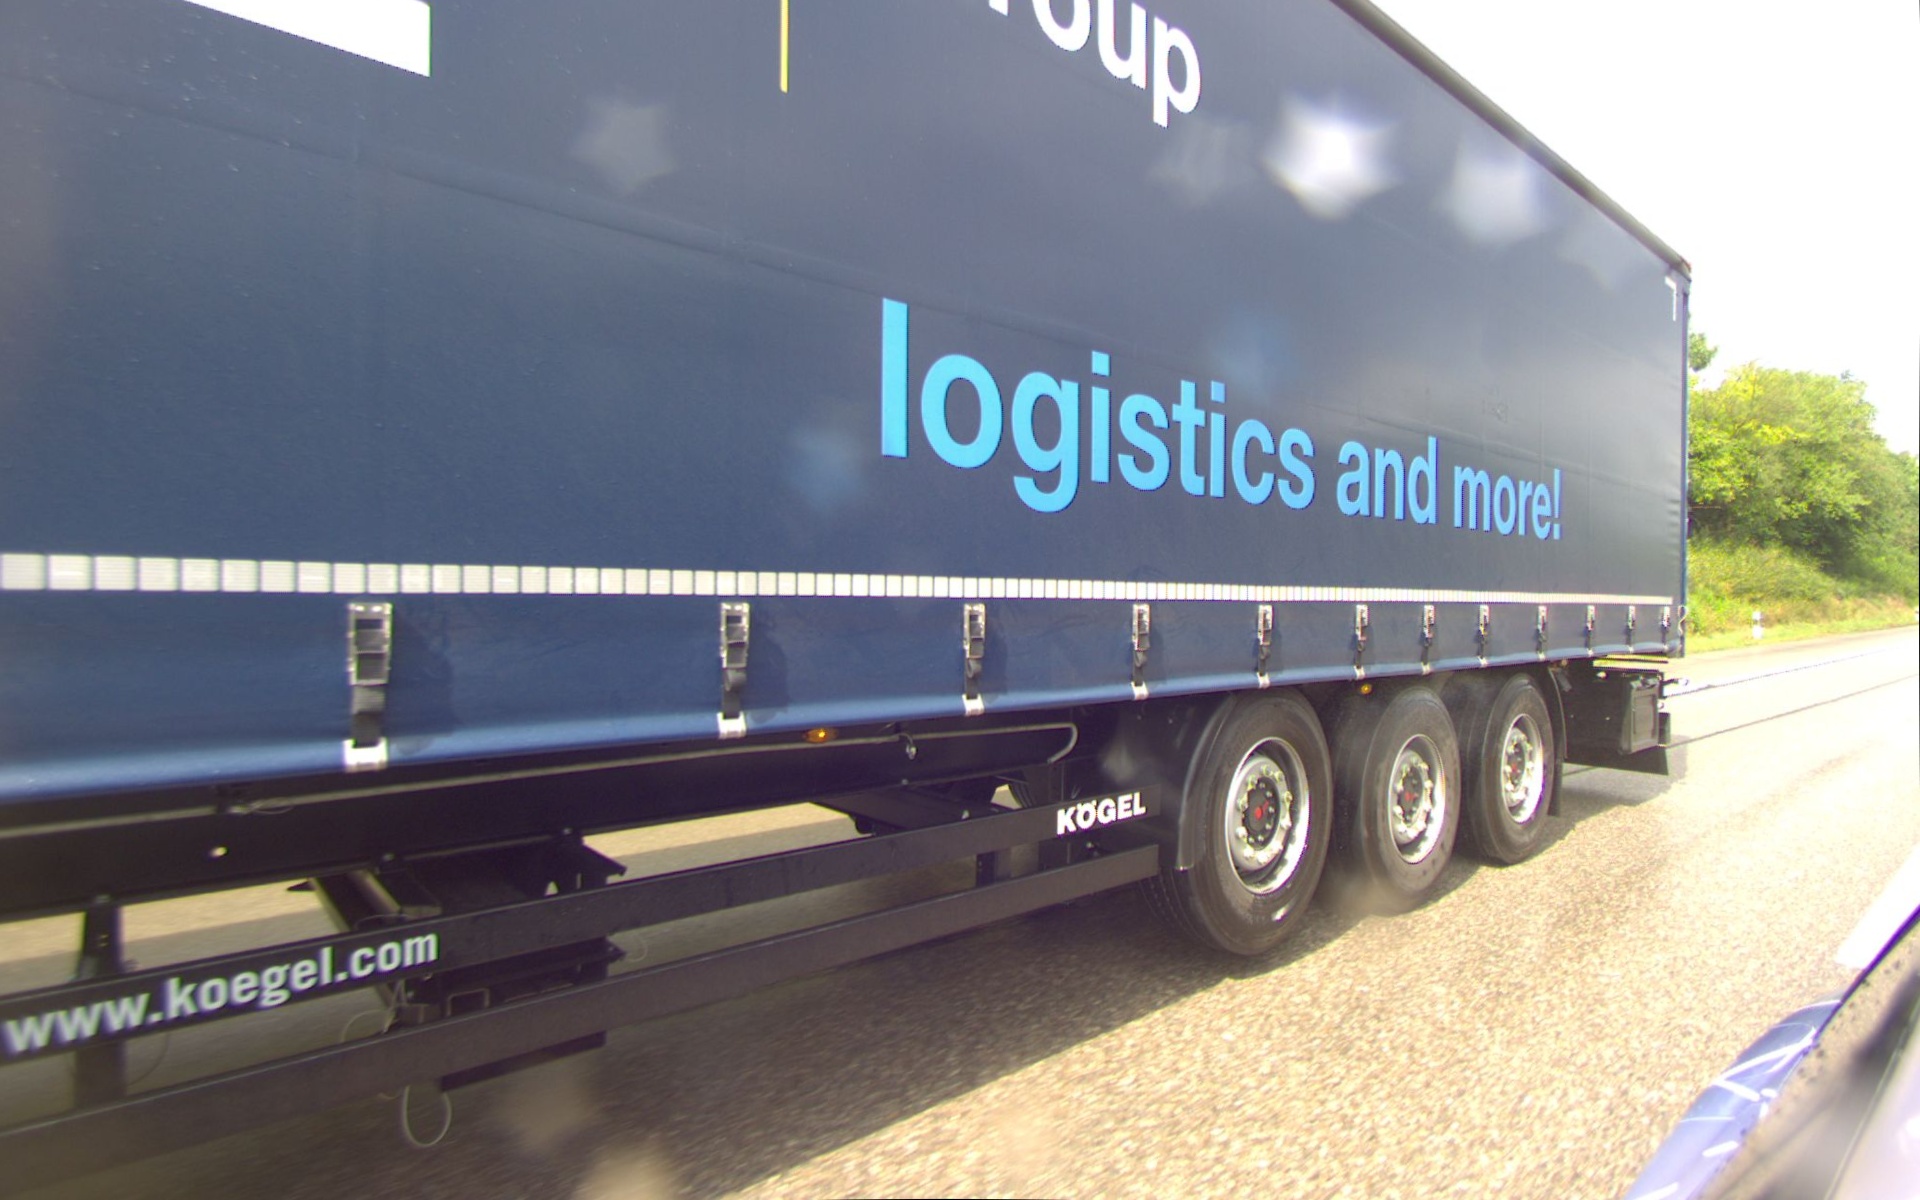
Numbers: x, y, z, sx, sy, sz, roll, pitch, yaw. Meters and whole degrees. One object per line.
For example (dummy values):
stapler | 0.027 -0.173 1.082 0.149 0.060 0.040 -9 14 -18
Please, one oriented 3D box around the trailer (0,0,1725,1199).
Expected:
trailer | -0.613 -0.642 3.743 13.817 4.046 2.639 -1 0 -41
